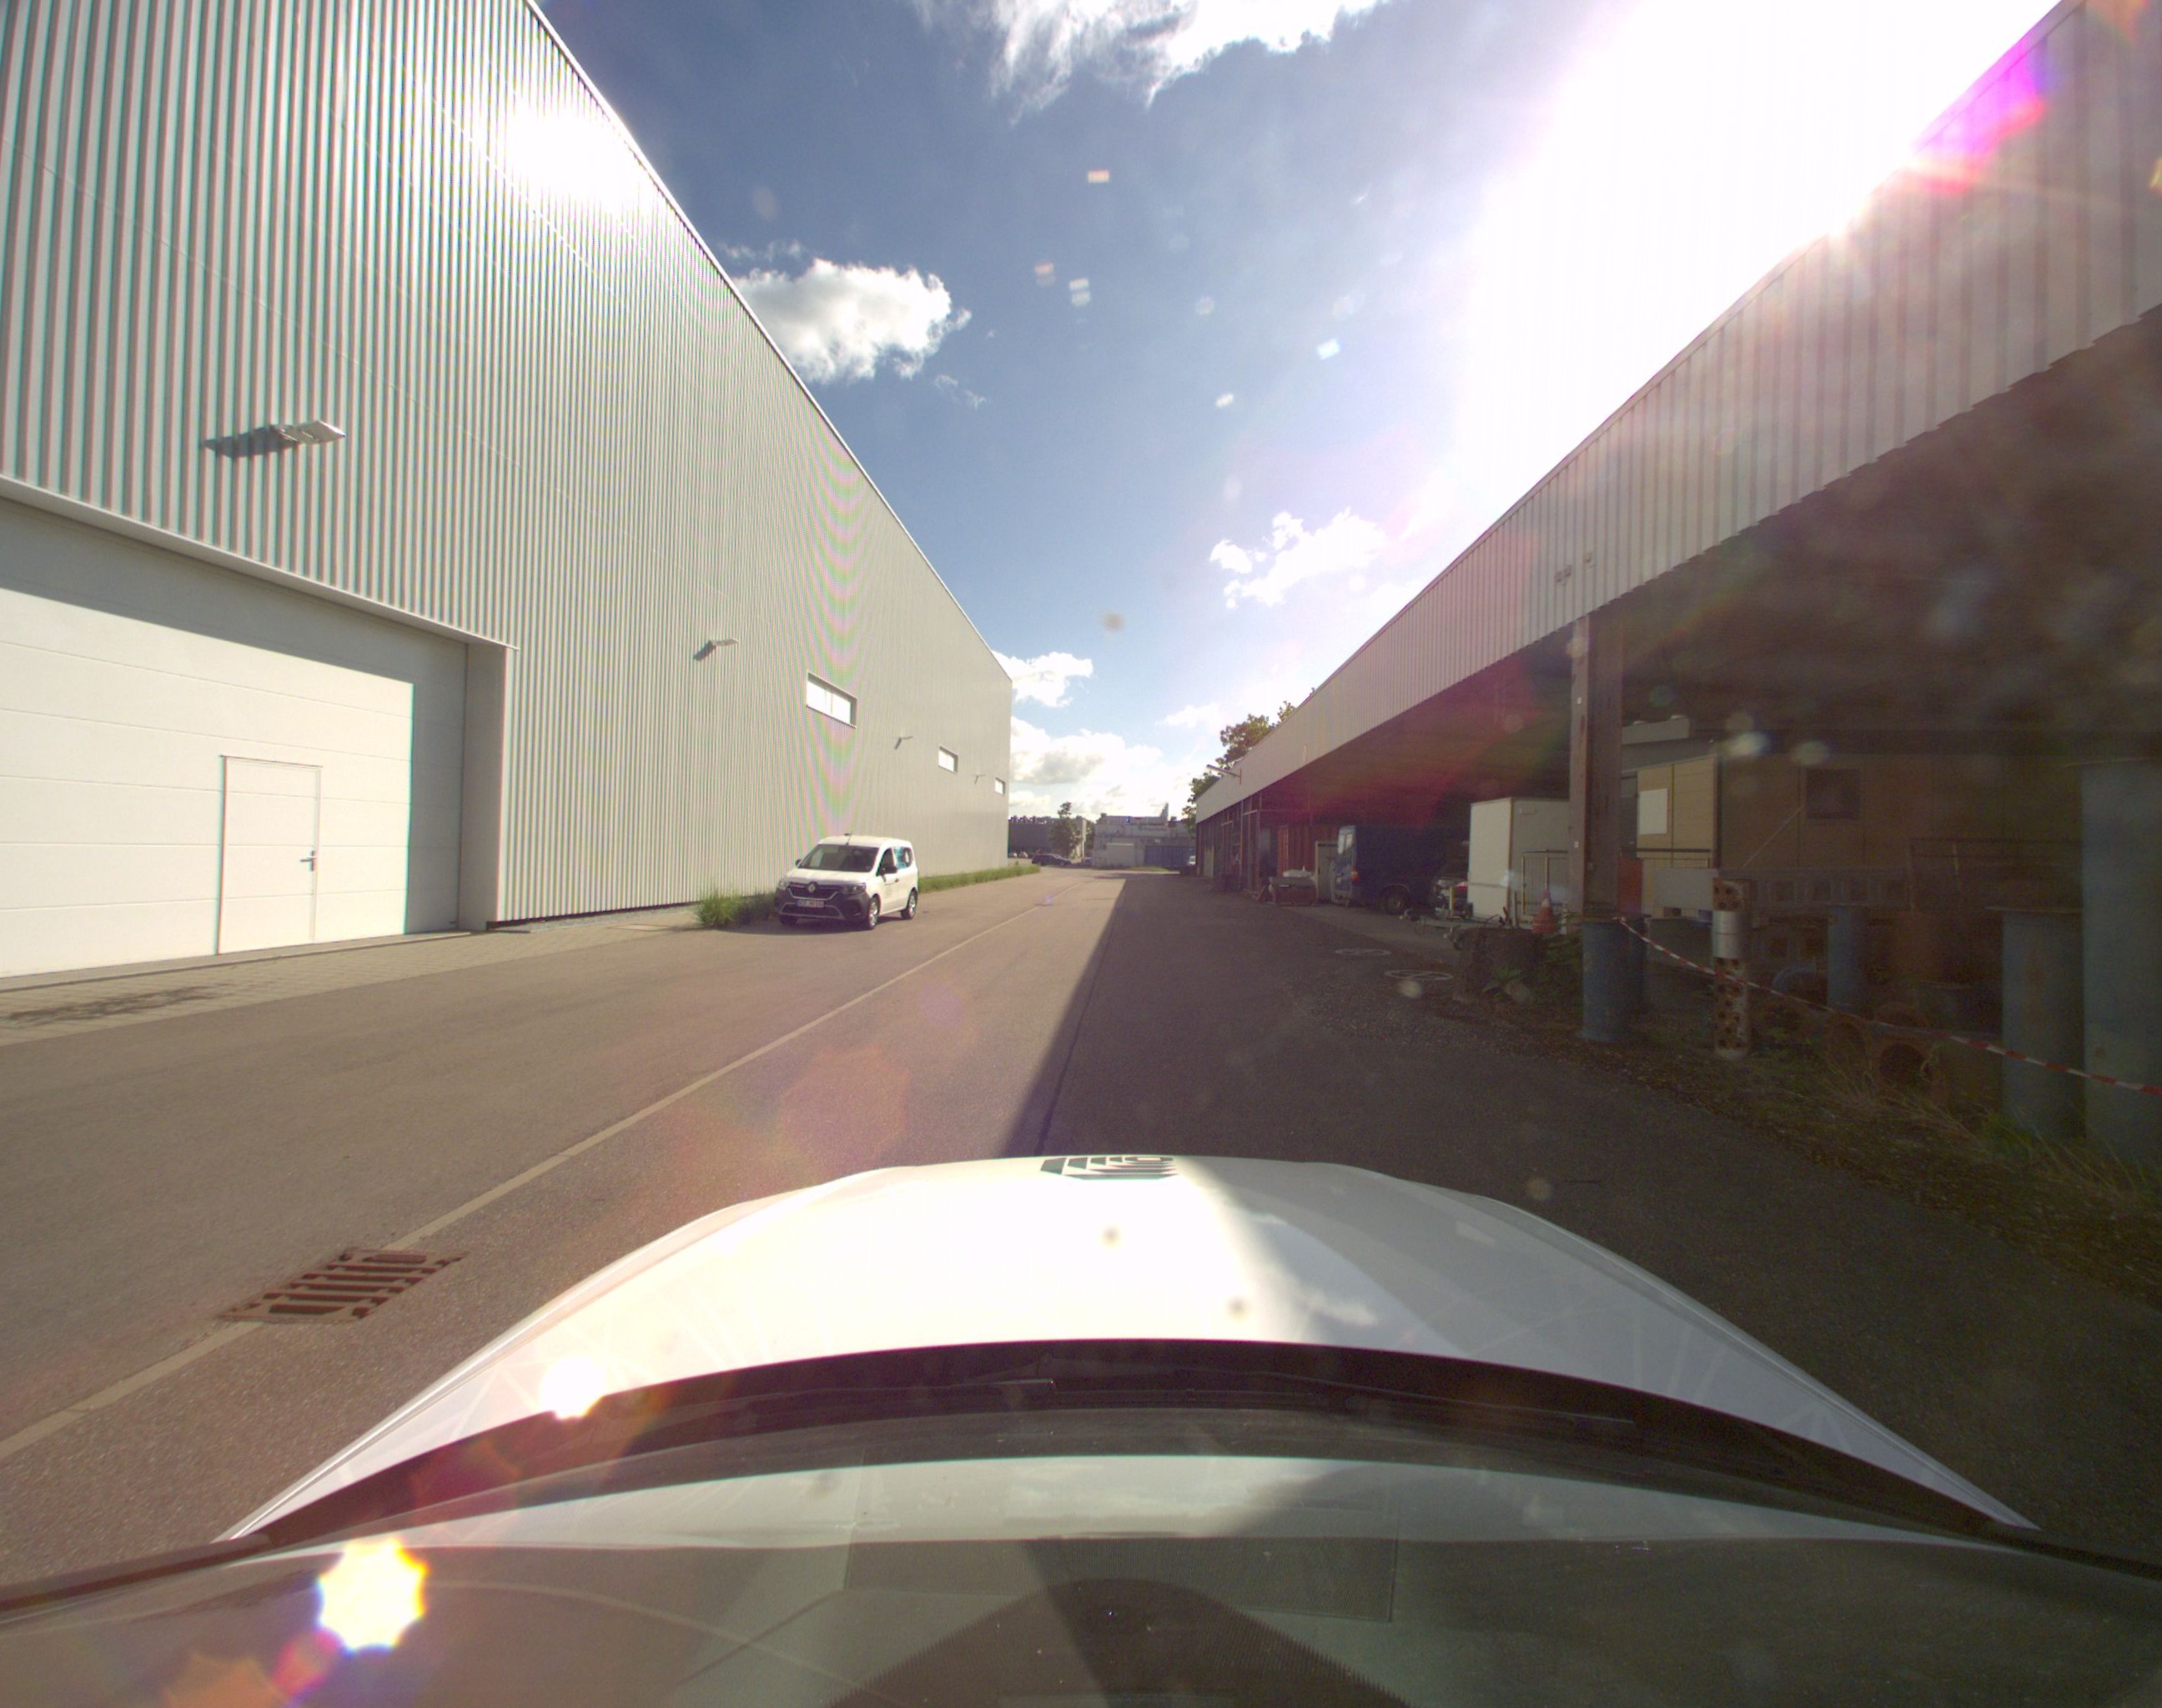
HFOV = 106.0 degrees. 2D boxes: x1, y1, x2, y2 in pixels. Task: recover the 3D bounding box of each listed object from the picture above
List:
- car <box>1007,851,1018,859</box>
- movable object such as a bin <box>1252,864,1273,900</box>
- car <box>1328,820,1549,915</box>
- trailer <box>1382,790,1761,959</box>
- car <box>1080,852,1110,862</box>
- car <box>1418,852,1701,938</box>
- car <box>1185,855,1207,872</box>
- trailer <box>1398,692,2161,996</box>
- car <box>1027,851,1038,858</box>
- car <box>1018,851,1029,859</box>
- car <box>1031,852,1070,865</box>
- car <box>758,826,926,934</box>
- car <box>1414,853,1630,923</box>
[{"bbox_3d":[-16.566,0.274,196.861,1.985,1.736,4.003,0,-1,3],"label":"car"},{"bbox_3d":[6.080,0.912,27.292,0.578,1.164,1.241,0,0,8],"label":"movable object such as a bin"},{"bbox_3d":[9.268,0.332,21.442,4.957,2.325,2.002,1,0,3],"label":"car"},{"bbox_3d":[7.417,0.275,12.781,4.785,2.391,1.831,0,0,8],"label":"trailer"},{"bbox_3d":[2.253,0.437,126.569,4.505,1.508,1.911,1,0,4],"label":"car"},{"bbox_3d":[8.863,0.722,15.354,4.313,1.496,1.777,0,0,1],"label":"car"},{"bbox_3d":[12.068,0.939,85.627,1.985,1.585,4.176,1,1,3],"label":"car"},{"bbox_3d":[9.498,-0.117,10.130,9.995,3.216,2.856,0,0,3],"label":"trailer"},{"bbox_3d":[-11.540,0.158,195.238,2.184,1.736,4.003,0,-1,3],"label":"car"},{"bbox_3d":[-13.972,0.224,197.075,2.184,1.736,4.003,0,-1,3],"label":"car"},{"bbox_3d":[-3.661,0.578,99.209,4.504,1.508,1.911,0,0,5],"label":"car"},{"bbox_3d":[-4.732,0.469,16.904,1.882,1.845,4.362,3,0,3],"label":"car"},{"bbox_3d":[9.874,0.741,18.439,3.975,1.472,1.787,0,0,-1],"label":"car"}]
